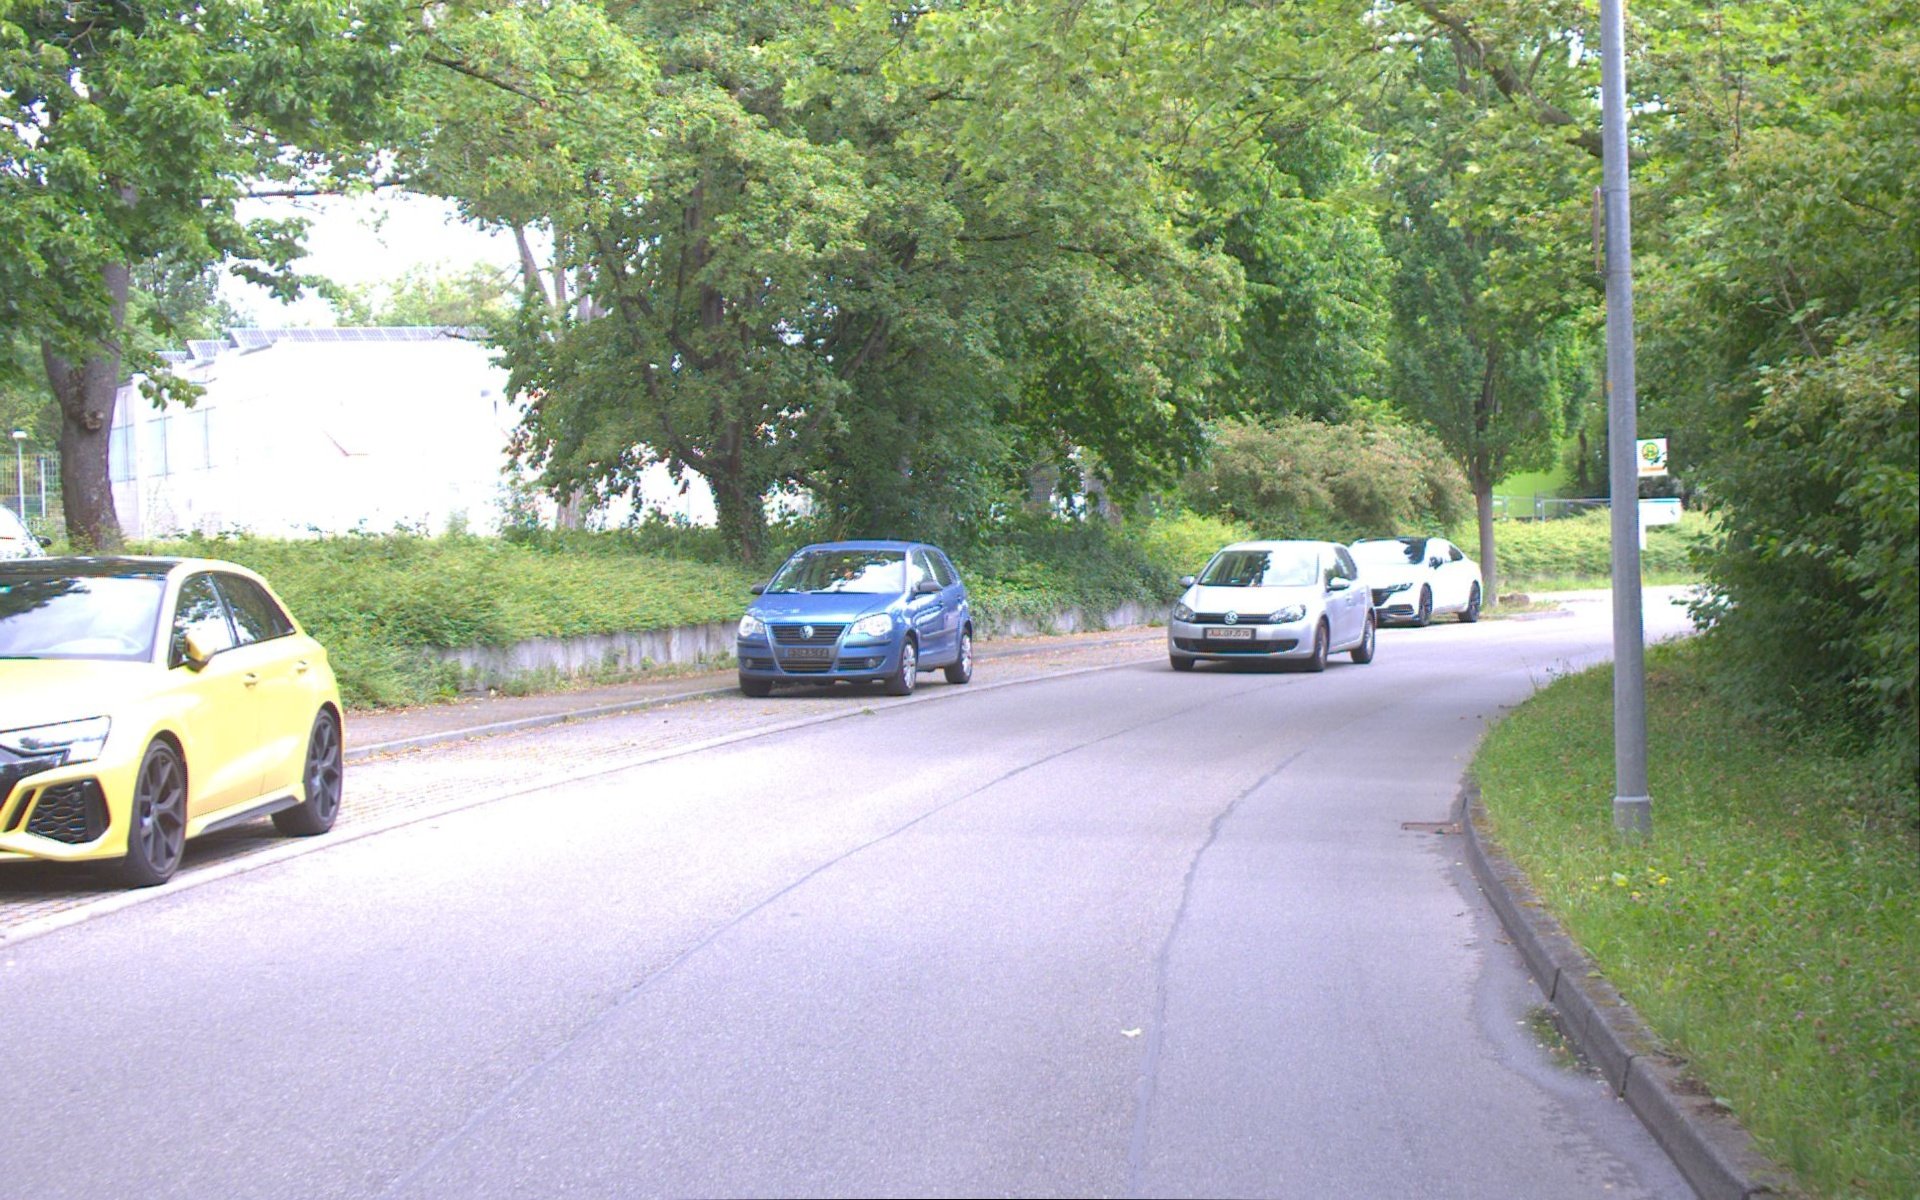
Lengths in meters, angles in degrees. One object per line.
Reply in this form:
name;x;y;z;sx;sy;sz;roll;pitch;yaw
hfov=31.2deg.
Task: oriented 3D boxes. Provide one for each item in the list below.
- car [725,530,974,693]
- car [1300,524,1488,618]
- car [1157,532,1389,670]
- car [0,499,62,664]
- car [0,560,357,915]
car;-1.021;0.075;33.560;1.534;1.454;3.718;-1;1;13
car;7.004;-0.493;55.124;1.816;1.419;4.355;1;2;24
car;3.698;-0.031;40.022;1.678;1.457;4.057;1;2;20
car;-10.604;-0.188;35.622;1.740;1.616;3.874;-3;2;-26
car;-4.179;0.530;15.947;1.700;1.398;4.273;0;1;4
